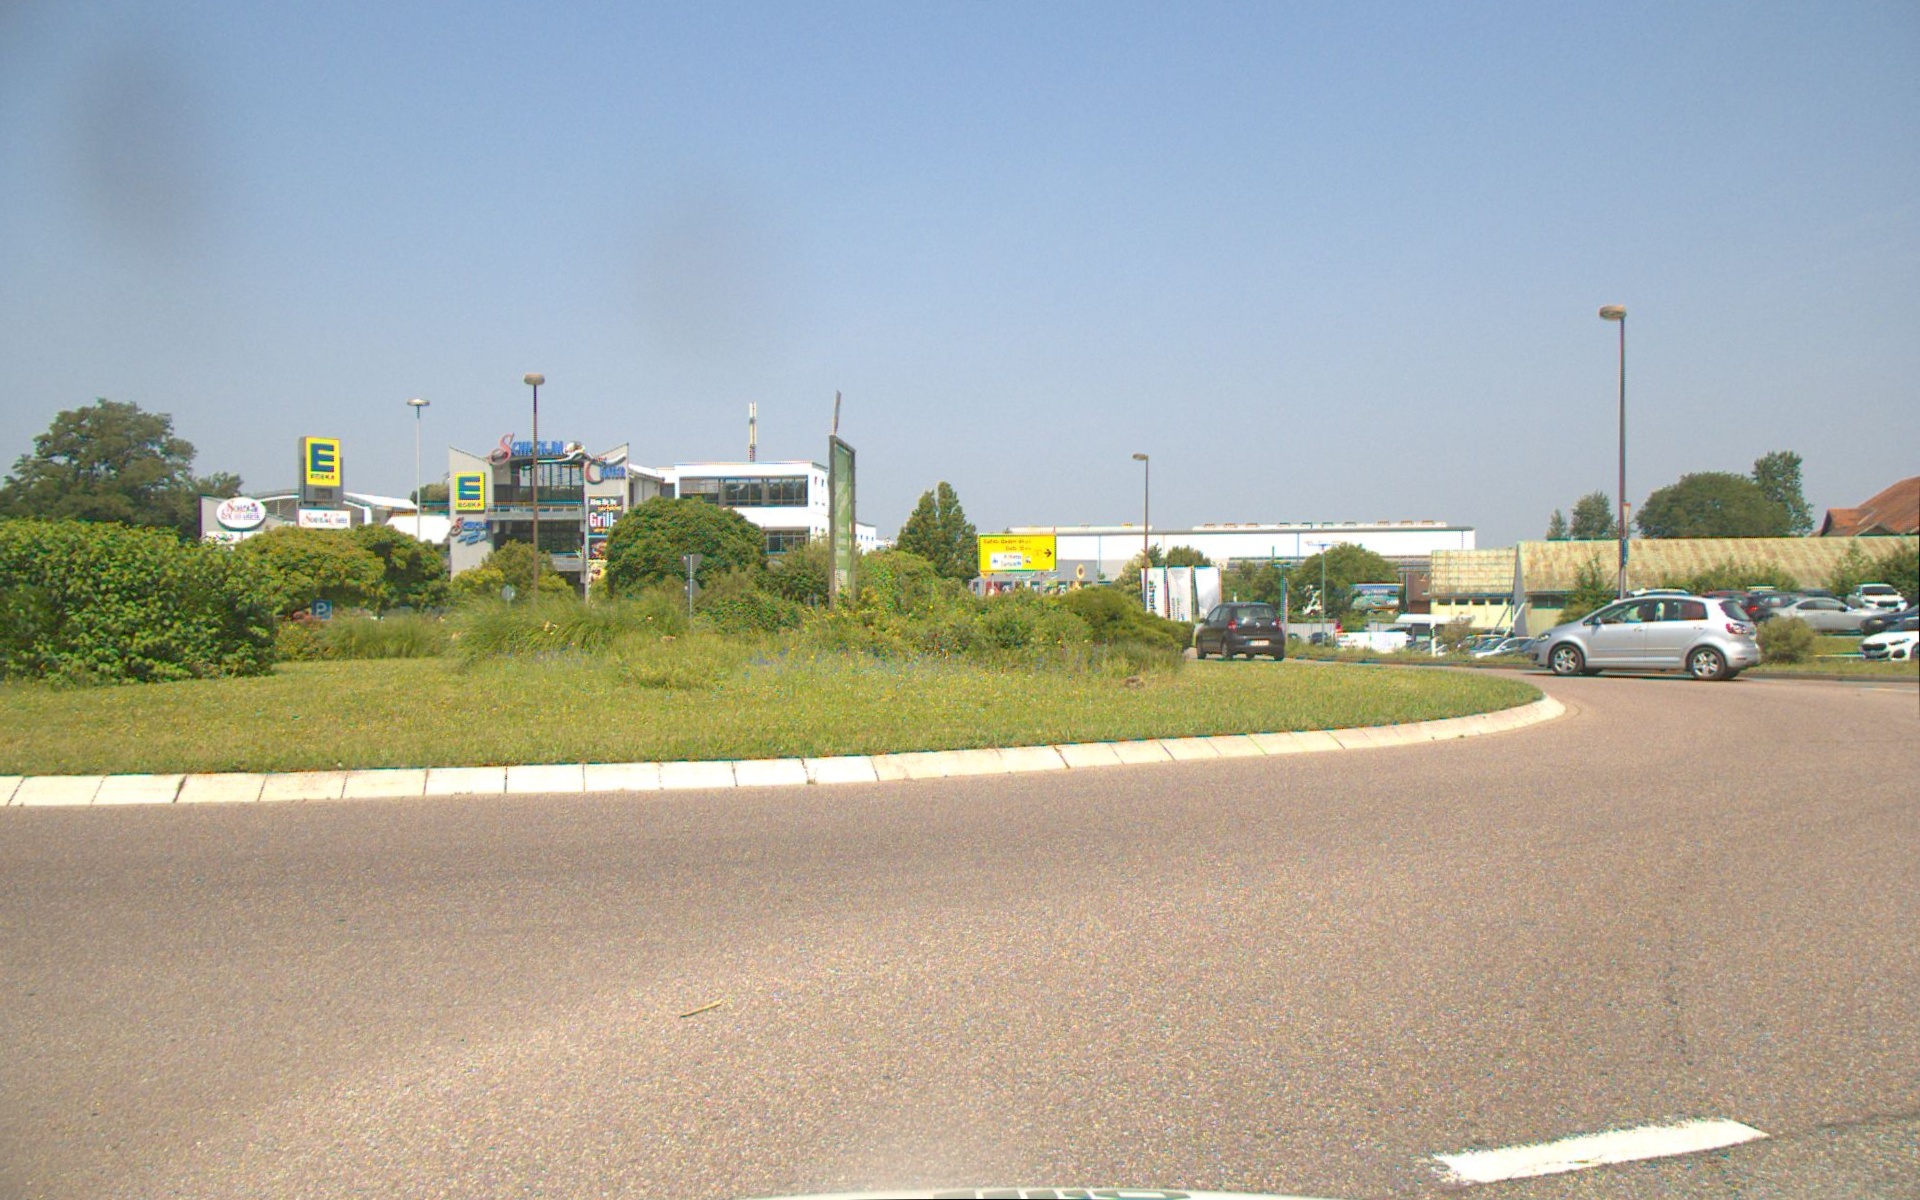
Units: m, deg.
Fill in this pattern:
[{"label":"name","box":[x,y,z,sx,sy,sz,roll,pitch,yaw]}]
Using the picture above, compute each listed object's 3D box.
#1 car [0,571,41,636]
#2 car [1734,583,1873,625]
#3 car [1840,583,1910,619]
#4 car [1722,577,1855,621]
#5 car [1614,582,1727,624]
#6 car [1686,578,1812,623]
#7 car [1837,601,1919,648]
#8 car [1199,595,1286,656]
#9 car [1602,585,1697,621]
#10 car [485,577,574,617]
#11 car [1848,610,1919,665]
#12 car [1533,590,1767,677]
[{"label":"car","box":[-31.550,0.098,52.910,1.652,2.049,4.002,1,-1,7]},{"label":"car","box":[32.096,0.151,63.050,4.358,1.526,1.951,-1,0,14]},{"label":"car","box":[42.258,0.055,76.475,1.876,1.624,4.307,-1,0,16]},{"label":"car","box":[32.662,-0.022,65.353,4.358,1.663,1.951,-1,0,14]},{"label":"car","box":[31.741,0.142,74.021,4.358,1.778,1.840,-1,0,14]},{"label":"car","box":[32.564,0.036,68.365,4.358,1.778,1.951,-1,0,14]},{"label":"car","box":[32.541,0.827,56.896,3.913,1.553,1.950,-1,0,20]},{"label":"car","box":[7.585,0.691,44.700,1.742,1.557,4.000,1,-1,1]},{"label":"car","box":[31.831,0.141,76.427,3.792,1.559,1.770,-1,0,14]},{"label":"car","box":[-17.956,-0.104,69.059,3.242,1.602,1.557,-1,-1,15]},{"label":"car","box":[29.684,1.102,50.715,4.495,1.598,1.758,-1,-1,-20]},{"label":"car","box":[13.274,0.622,31.843,3.996,1.557,1.781,0,-1,30]}]
